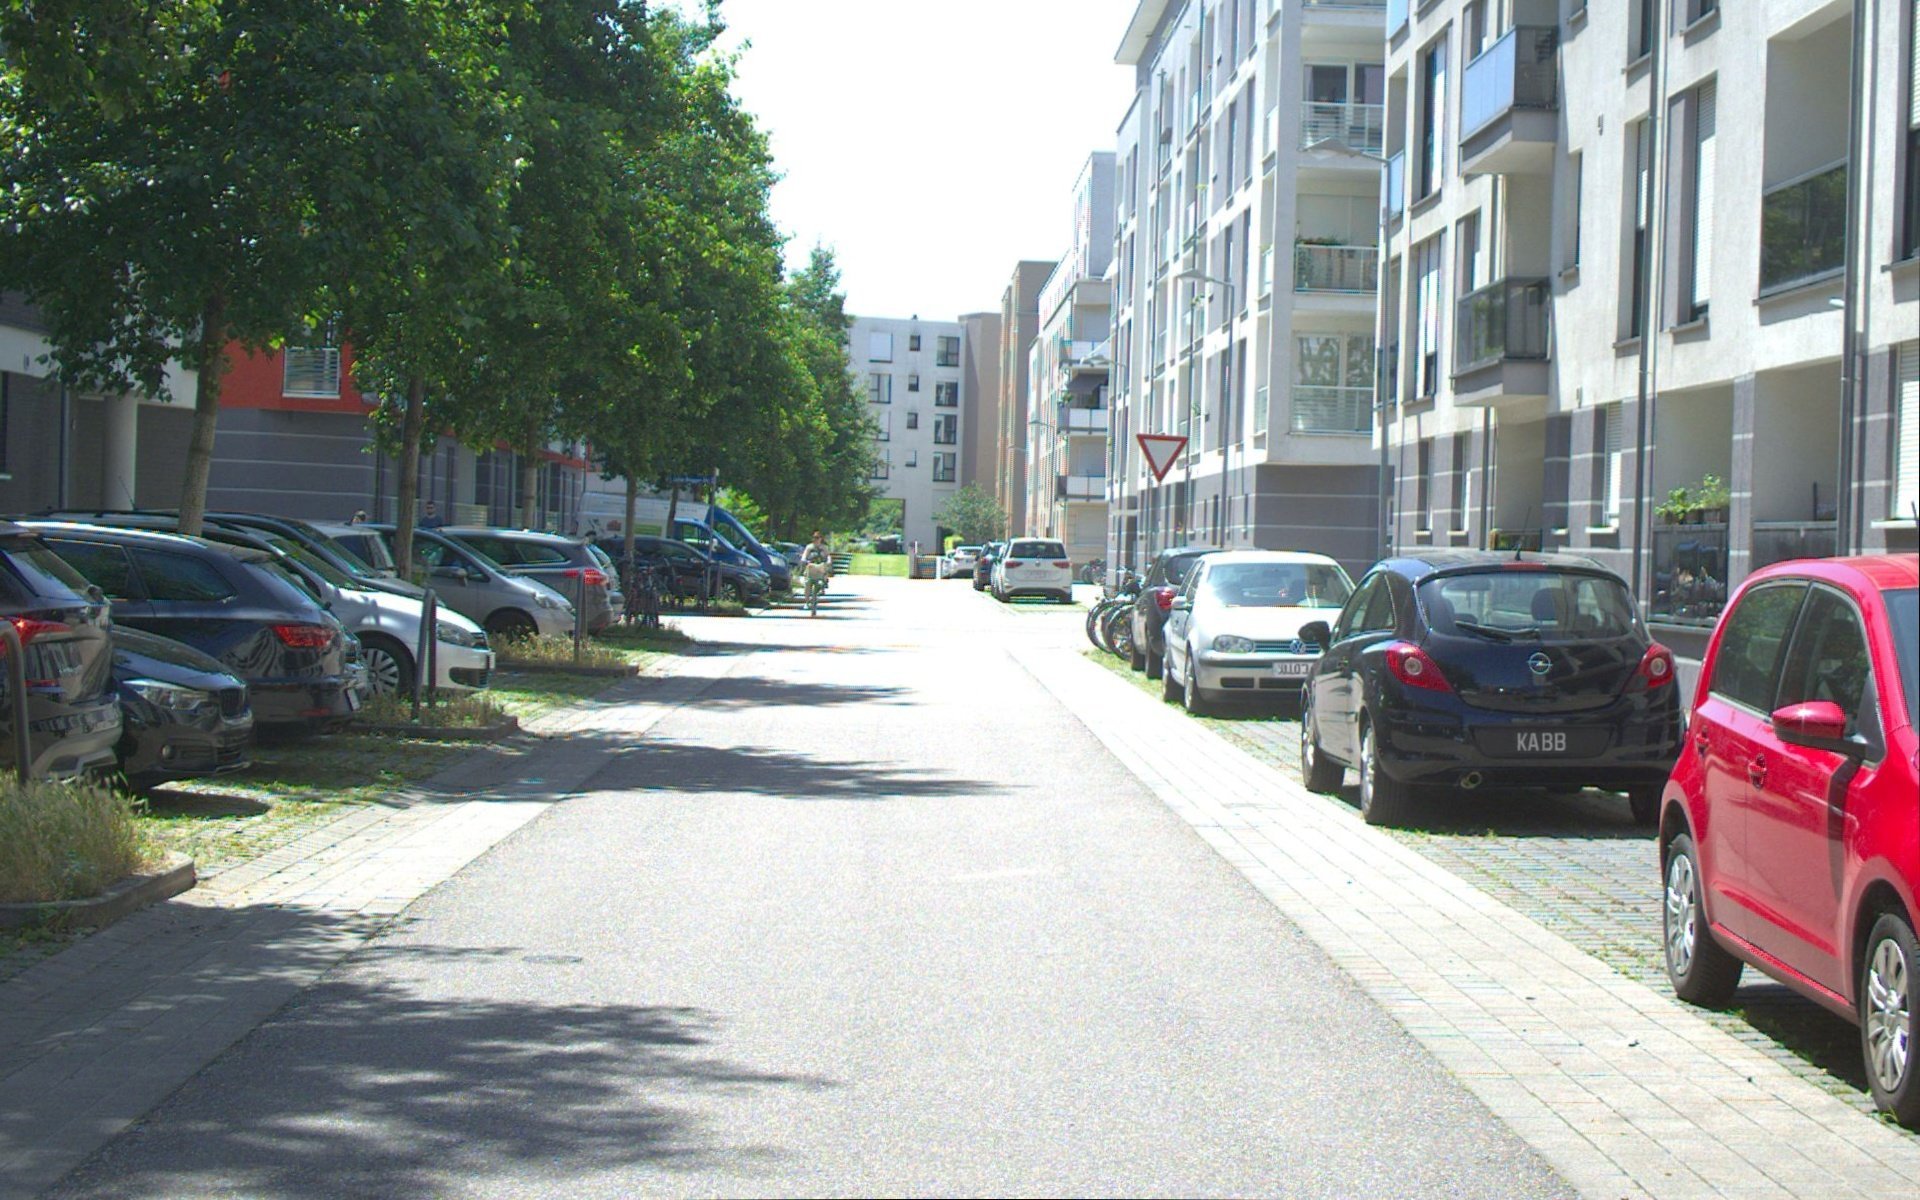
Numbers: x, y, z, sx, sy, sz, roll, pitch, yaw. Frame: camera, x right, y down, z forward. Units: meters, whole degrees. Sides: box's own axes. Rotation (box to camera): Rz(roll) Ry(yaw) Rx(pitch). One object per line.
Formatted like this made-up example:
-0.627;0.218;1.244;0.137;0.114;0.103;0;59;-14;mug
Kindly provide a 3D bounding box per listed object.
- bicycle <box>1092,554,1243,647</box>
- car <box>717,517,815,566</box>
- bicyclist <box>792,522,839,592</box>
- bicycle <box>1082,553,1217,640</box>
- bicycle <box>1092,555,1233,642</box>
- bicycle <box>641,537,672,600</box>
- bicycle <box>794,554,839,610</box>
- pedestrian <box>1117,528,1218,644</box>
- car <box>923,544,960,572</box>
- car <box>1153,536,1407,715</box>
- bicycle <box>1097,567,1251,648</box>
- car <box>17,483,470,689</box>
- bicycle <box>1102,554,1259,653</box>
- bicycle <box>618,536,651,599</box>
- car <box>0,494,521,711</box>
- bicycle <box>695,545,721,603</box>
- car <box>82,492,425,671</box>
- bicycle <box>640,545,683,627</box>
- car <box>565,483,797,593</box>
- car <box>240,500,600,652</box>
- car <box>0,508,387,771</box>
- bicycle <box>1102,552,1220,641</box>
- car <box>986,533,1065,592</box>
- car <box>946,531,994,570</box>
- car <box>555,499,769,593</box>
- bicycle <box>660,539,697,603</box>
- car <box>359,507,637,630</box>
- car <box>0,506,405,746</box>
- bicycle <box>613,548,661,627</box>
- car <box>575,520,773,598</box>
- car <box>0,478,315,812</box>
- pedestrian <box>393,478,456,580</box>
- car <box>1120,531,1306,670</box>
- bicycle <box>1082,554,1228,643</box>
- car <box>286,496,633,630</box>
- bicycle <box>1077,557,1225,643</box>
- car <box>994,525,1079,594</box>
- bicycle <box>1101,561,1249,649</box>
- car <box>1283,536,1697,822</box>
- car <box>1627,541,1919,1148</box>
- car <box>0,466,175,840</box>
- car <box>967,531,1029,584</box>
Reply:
2.735;0.007;45.325;1.923;1.213;0.461;0;1;-10;bicycle
-8.521;-2.579;151.167;3.988;2.007;2.000;2;1;6;car
-3.052;-0.909;72.583;0.954;1.454;0.800;1;1;-1;bicyclist
2.657;-0.058;48.271;1.859;1.189;0.687;1;1;2;bicycle
2.712;-0.021;45.908;1.833;1.144;0.461;0;1;-20;bicycle
-6.140;-0.638;69.626;0.434;1.200;1.700;3;2;0;bicycle
-3.017;-0.385;72.652;0.898;1.125;2.040;1;1;-2;bicycle
2.738;-0.187;45.449;1.178;1.509;0.688;0;1;-10;pedestrian
-1.066;-2.401;196.942;1.993;1.514;4.001;2;1;-2;car
2.826;0.179;31.258;1.834;1.499;4.351;0;1;-1;car
2.780;0.094;44.665;1.923;1.031;0.559;1;1;-4;bicycle
-6.310;-0.135;30.633;3.707;1.580;1.821;3;1;-6;car
2.767;0.042;43.223;1.869;1.213;0.715;1;1;-4;bicycle
-6.609;-0.667;69.874;0.518;1.200;1.752;3;2;-3;bicycle
-5.868;-0.007;28.224;4.360;1.704;2.000;0;1;-3;car
-5.121;-0.530;69.850;0.466;1.138;1.926;1;1;-3;bicycle
-6.867;-0.195;33.631;2.932;1.495;1.849;4;1;-2;car
-4.446;-0.216;51.153;0.371;1.176;1.821;1;1;-13;bicycle
-7.452;-1.672;92.335;6.023;2.806;2.605;1;1;-1;car
-6.357;-0.297;40.798;3.937;1.548;1.872;3;1;-1;car
-5.630;0.171;21.076;3.973;1.440;1.776;3;1;-5;car
2.779;-0.053;47.562;1.550;1.213;0.708;1;1;-2;bicycle
1.735;-1.037;92.708;1.993;1.519;4.000;1;1;0;car
0.432;-2.261;155.655;1.993;1.669;4.001;2;1;-2;car
-7.489;-1.367;86.907;5.145;2.112;2.312;3;1;-1;car
-5.707;-0.595;69.625;0.570;1.170;1.769;4;2;-8;bicycle
-6.500;-0.454;48.611;3.630;1.515;1.832;3;1;-1;car
-6.004;0.114;23.685;3.987;1.417;1.897;3;1;0;car
-4.807;-0.196;51.122;0.433;1.124;1.979;1;1;-13;bicycle
-6.603;-0.962;79.734;4.383;1.509;2.075;4;1;-1;car
-5.703;0.138;18.564;3.987;1.645;1.918;3;1;1;car
-10.665;-1.417;68.531;1.009;2.007;1.129;1;1;2;pedestrian
2.856;-0.039;39.575;1.738;1.480;4.229;1;1;-1;car
2.660;-0.029;46.879;1.924;1.175;0.638;1;1;8;bicycle
-6.308;-0.456;43.696;4.180;1.481;1.959;3;0;-4;car
2.572;-0.004;46.273;1.924;1.129;0.609;1;1;8;bicycle
1.918;-1.040;87.007;1.997;1.651;4.115;1;1;0;car
2.742;0.061;43.970;1.786;1.100;0.747;1;1;-4;bicycle
2.924;0.368;19.759;1.642;1.457;4.118;0;1;-1;car
3.140;0.575;10.103;1.595;1.480;3.676;0;1;-1;car
-5.904;0.116;16.036;3.987;1.624;1.933;3;1;-1;car
1.203;-1.330;107.111;1.757;1.547;4.000;2;1;2;car
